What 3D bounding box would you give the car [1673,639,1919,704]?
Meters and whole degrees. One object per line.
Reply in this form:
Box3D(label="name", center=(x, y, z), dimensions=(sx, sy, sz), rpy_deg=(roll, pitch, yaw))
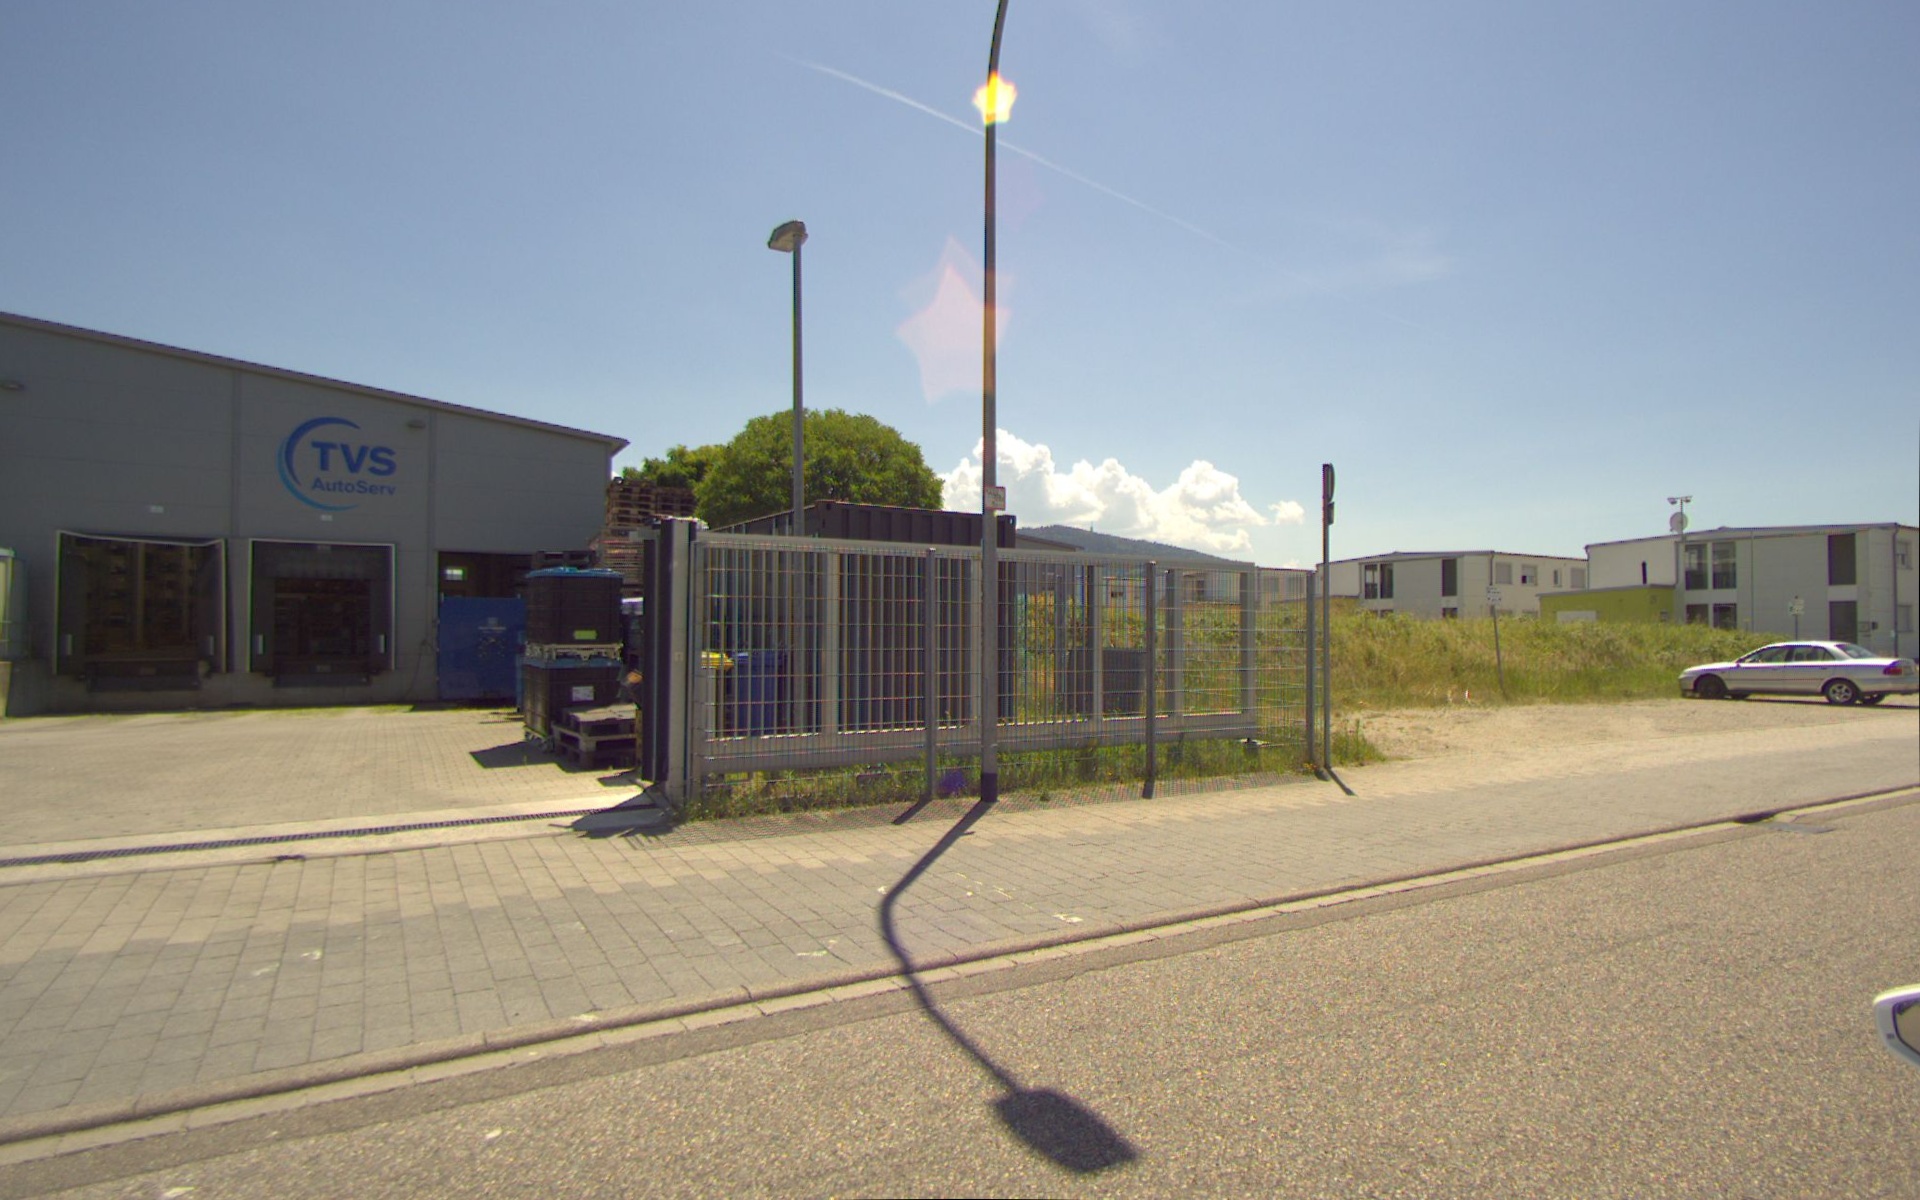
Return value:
Box3D(label="car", center=(19.557, 1.606, 23.543), dimensions=(1.875, 1.382, 4.259), rpy_deg=(1, -3, -30))
